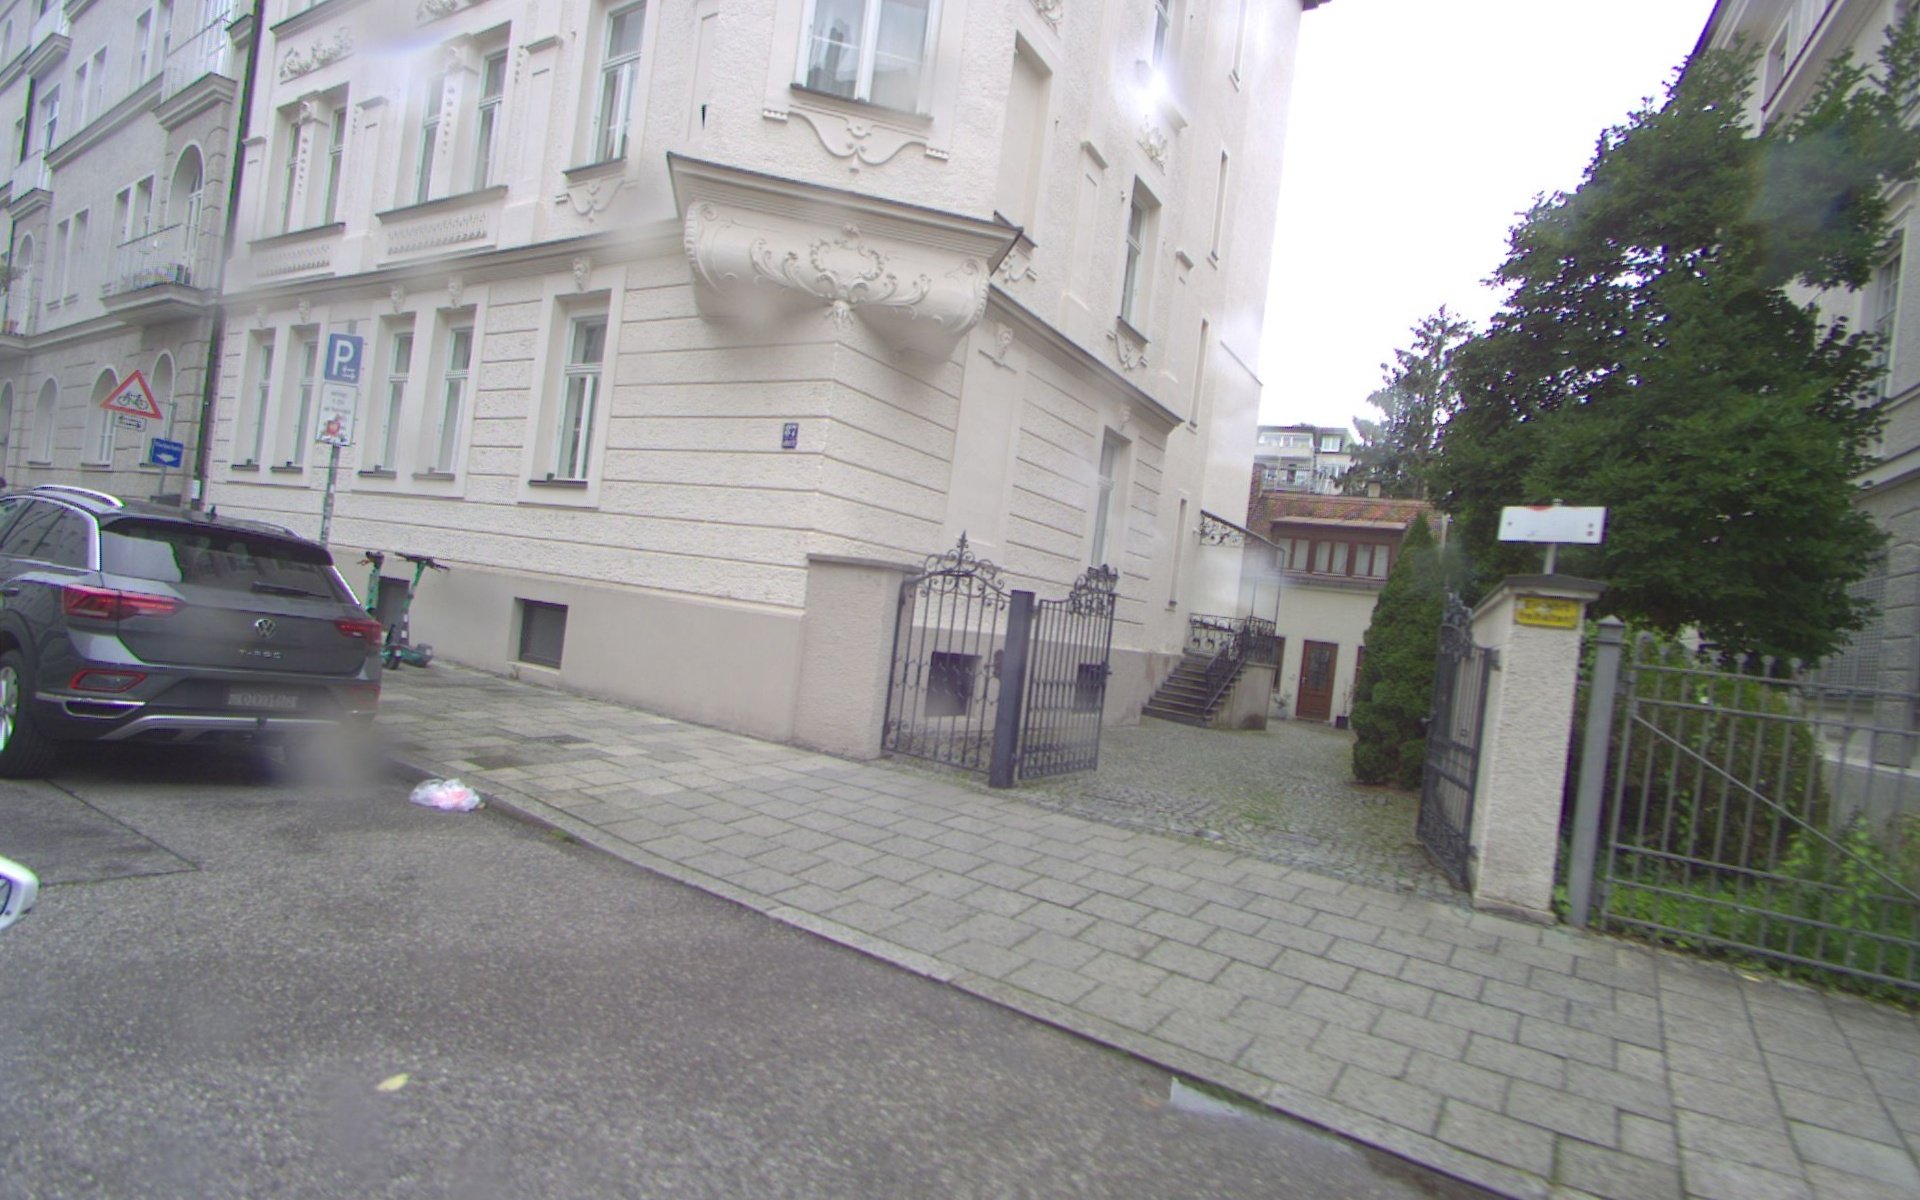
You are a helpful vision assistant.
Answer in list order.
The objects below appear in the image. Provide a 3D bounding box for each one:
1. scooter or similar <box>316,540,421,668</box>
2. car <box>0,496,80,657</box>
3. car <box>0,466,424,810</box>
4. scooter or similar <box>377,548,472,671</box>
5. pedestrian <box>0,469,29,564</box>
[{"bbox_3d":[-6.753,0.023,11.451,1.482,1.304,0.539,7,3,42],"label":"scooter or similar"},{"bbox_3d":[-10.215,-0.424,9.755,3.526,1.411,1.666,7,-2,36],"label":"car"},{"bbox_3d":[-5.524,0.079,6.552,3.934,1.606,1.711,7,-2,32],"label":"car"},{"bbox_3d":[-6.325,0.100,11.856,1.333,1.304,0.505,7,3,42],"label":"scooter or similar"},{"bbox_3d":[-17.599,-1.544,18.361,0.643,1.697,0.680,7,3,31],"label":"pedestrian"}]
